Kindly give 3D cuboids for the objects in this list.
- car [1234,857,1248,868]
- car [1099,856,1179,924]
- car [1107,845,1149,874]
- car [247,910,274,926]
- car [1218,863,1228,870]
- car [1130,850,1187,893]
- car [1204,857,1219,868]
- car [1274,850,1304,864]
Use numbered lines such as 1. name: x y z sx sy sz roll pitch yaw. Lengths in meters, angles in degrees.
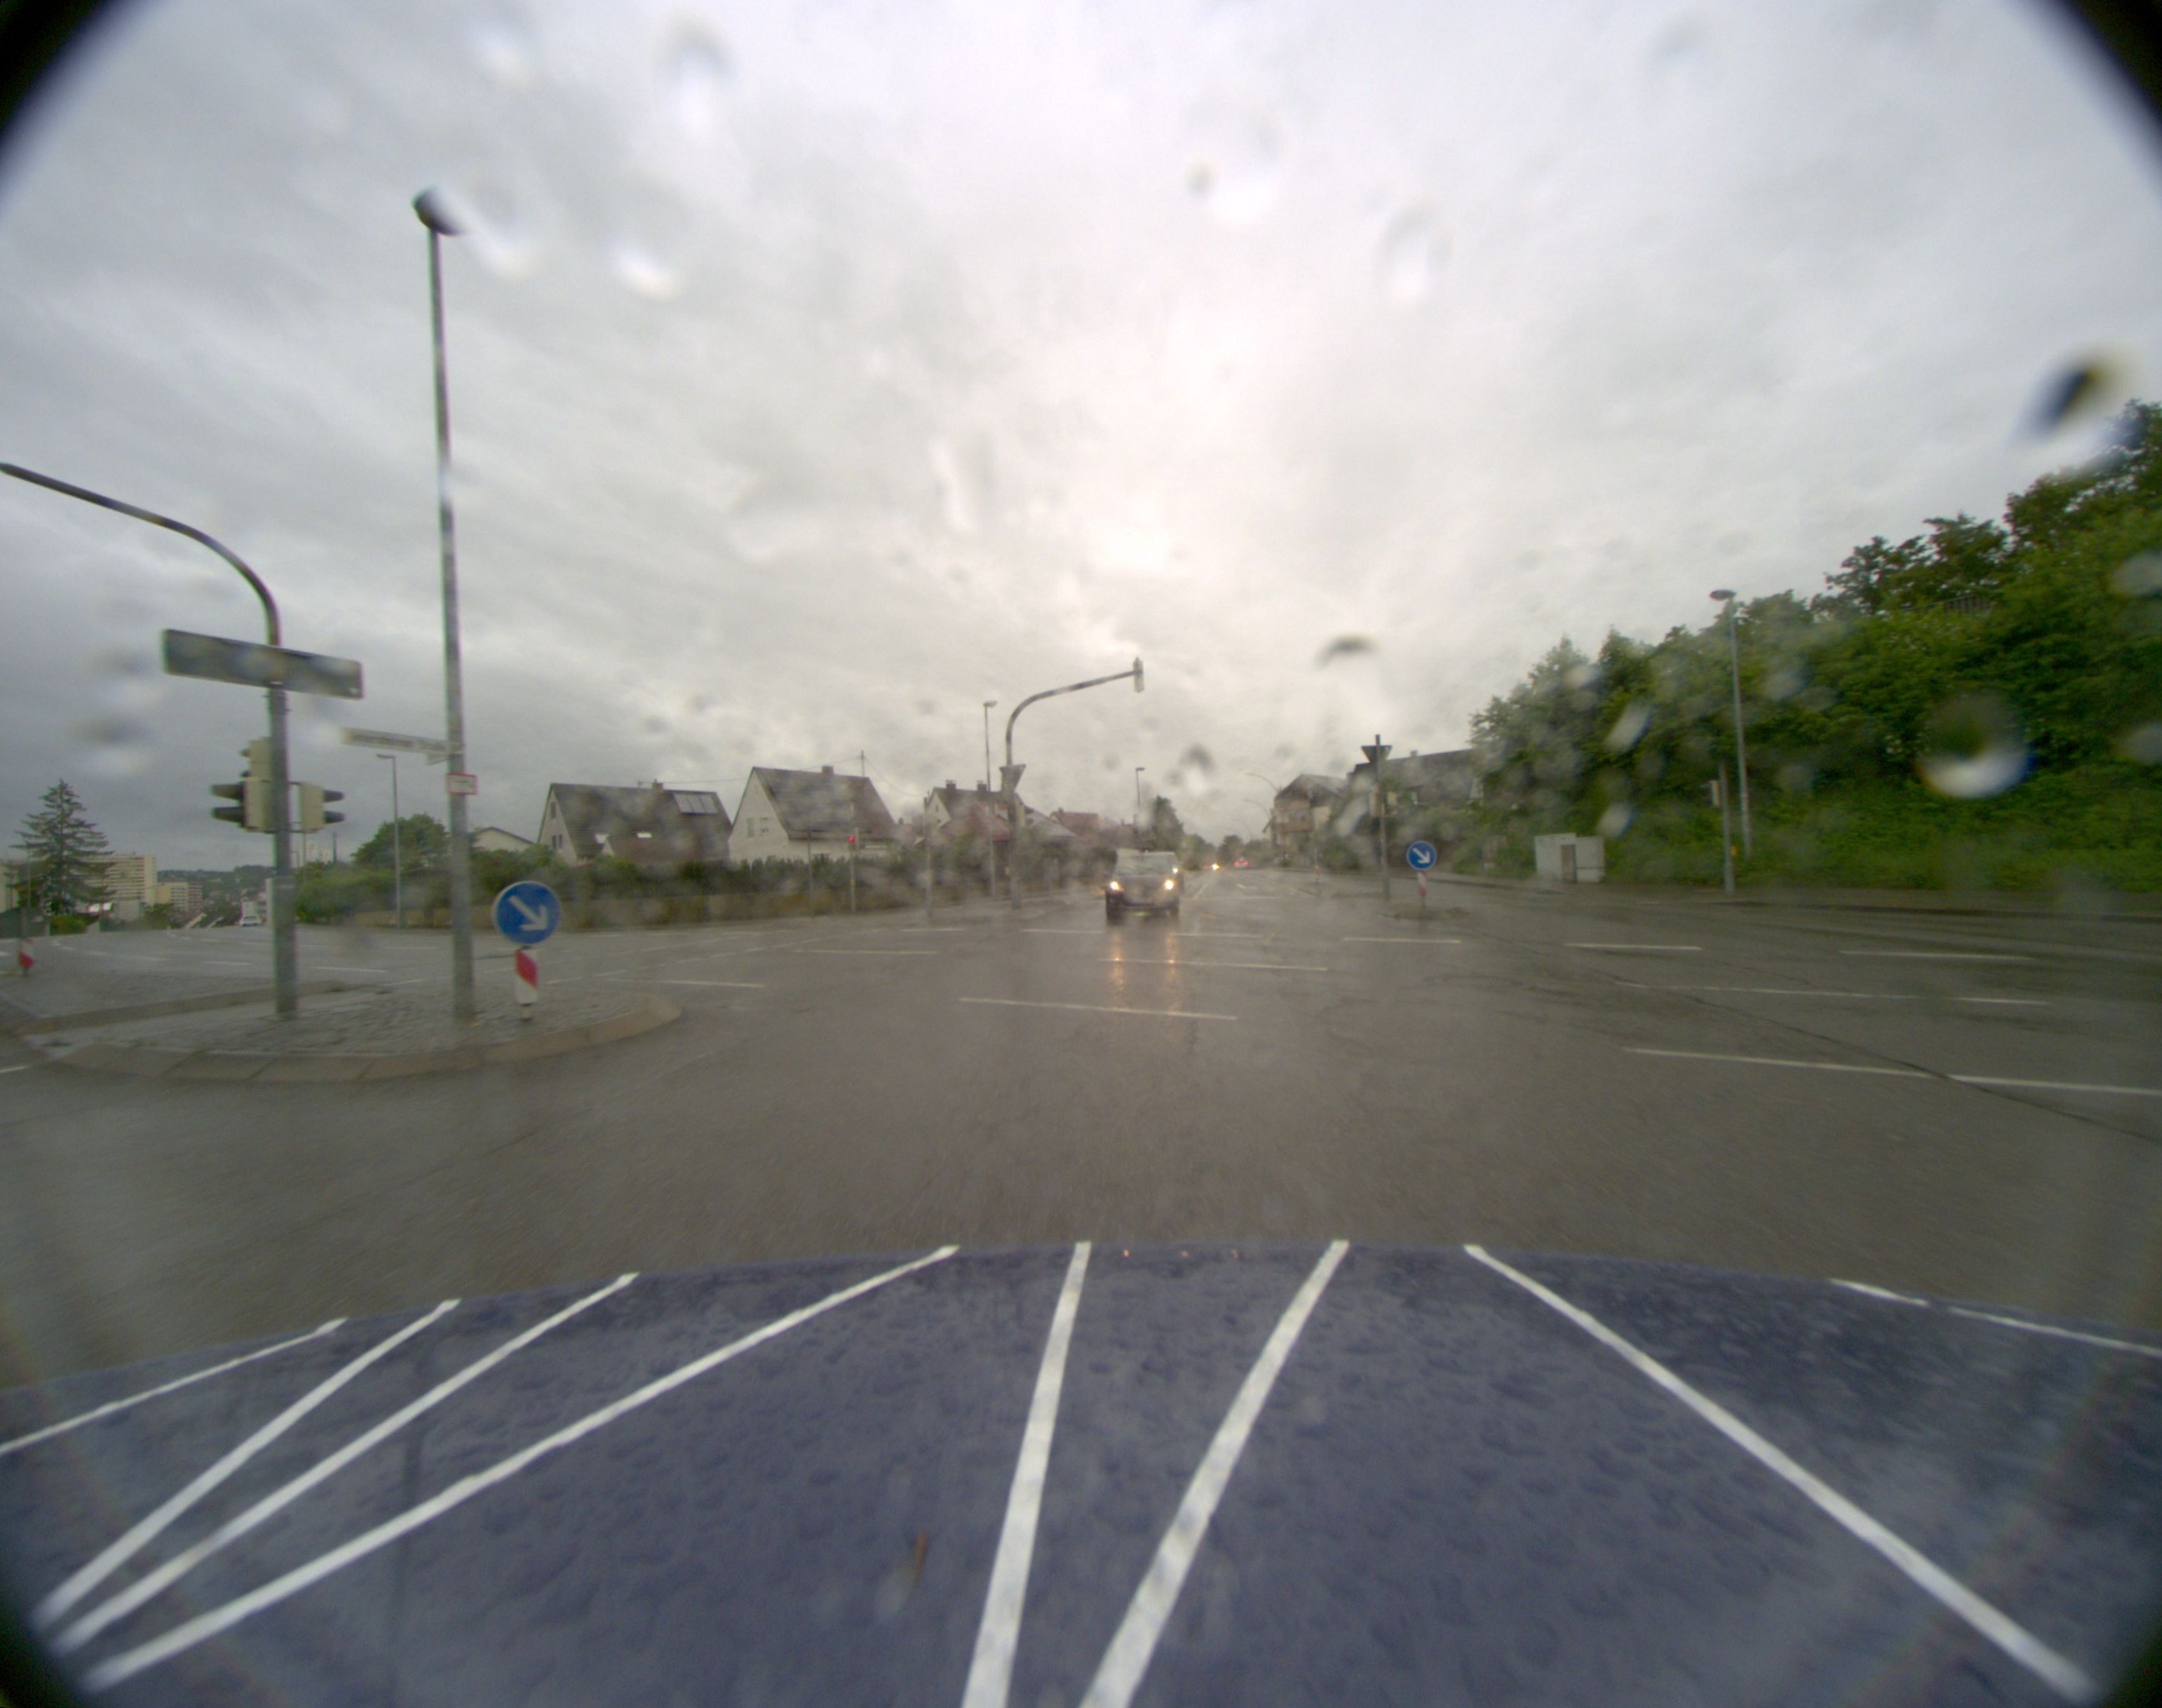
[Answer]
1. car: 22.439 1.122 106.663 1.623 1.496 3.824 -1 0 6
2. car: 1.520 0.799 18.590 1.665 1.410 3.935 -2 0 8
3. car: 4.166 0.480 67.189 1.650 2.337 4.008 -2 0 38
4. car: -96.848 7.516 89.669 1.856 1.489 3.989 -3 1 -44
5. car: 31.442 2.815 168.045 1.668 1.496 4.323 -2 0 5
6. car: 3.050 0.649 29.297 1.897 1.474 4.003 -2 0 9
7. car: 18.993 1.242 110.630 1.756 1.547 3.921 -2 0 6
8. car: 25.079 0.361 91.666 4.007 1.538 1.661 -3 1 -44
